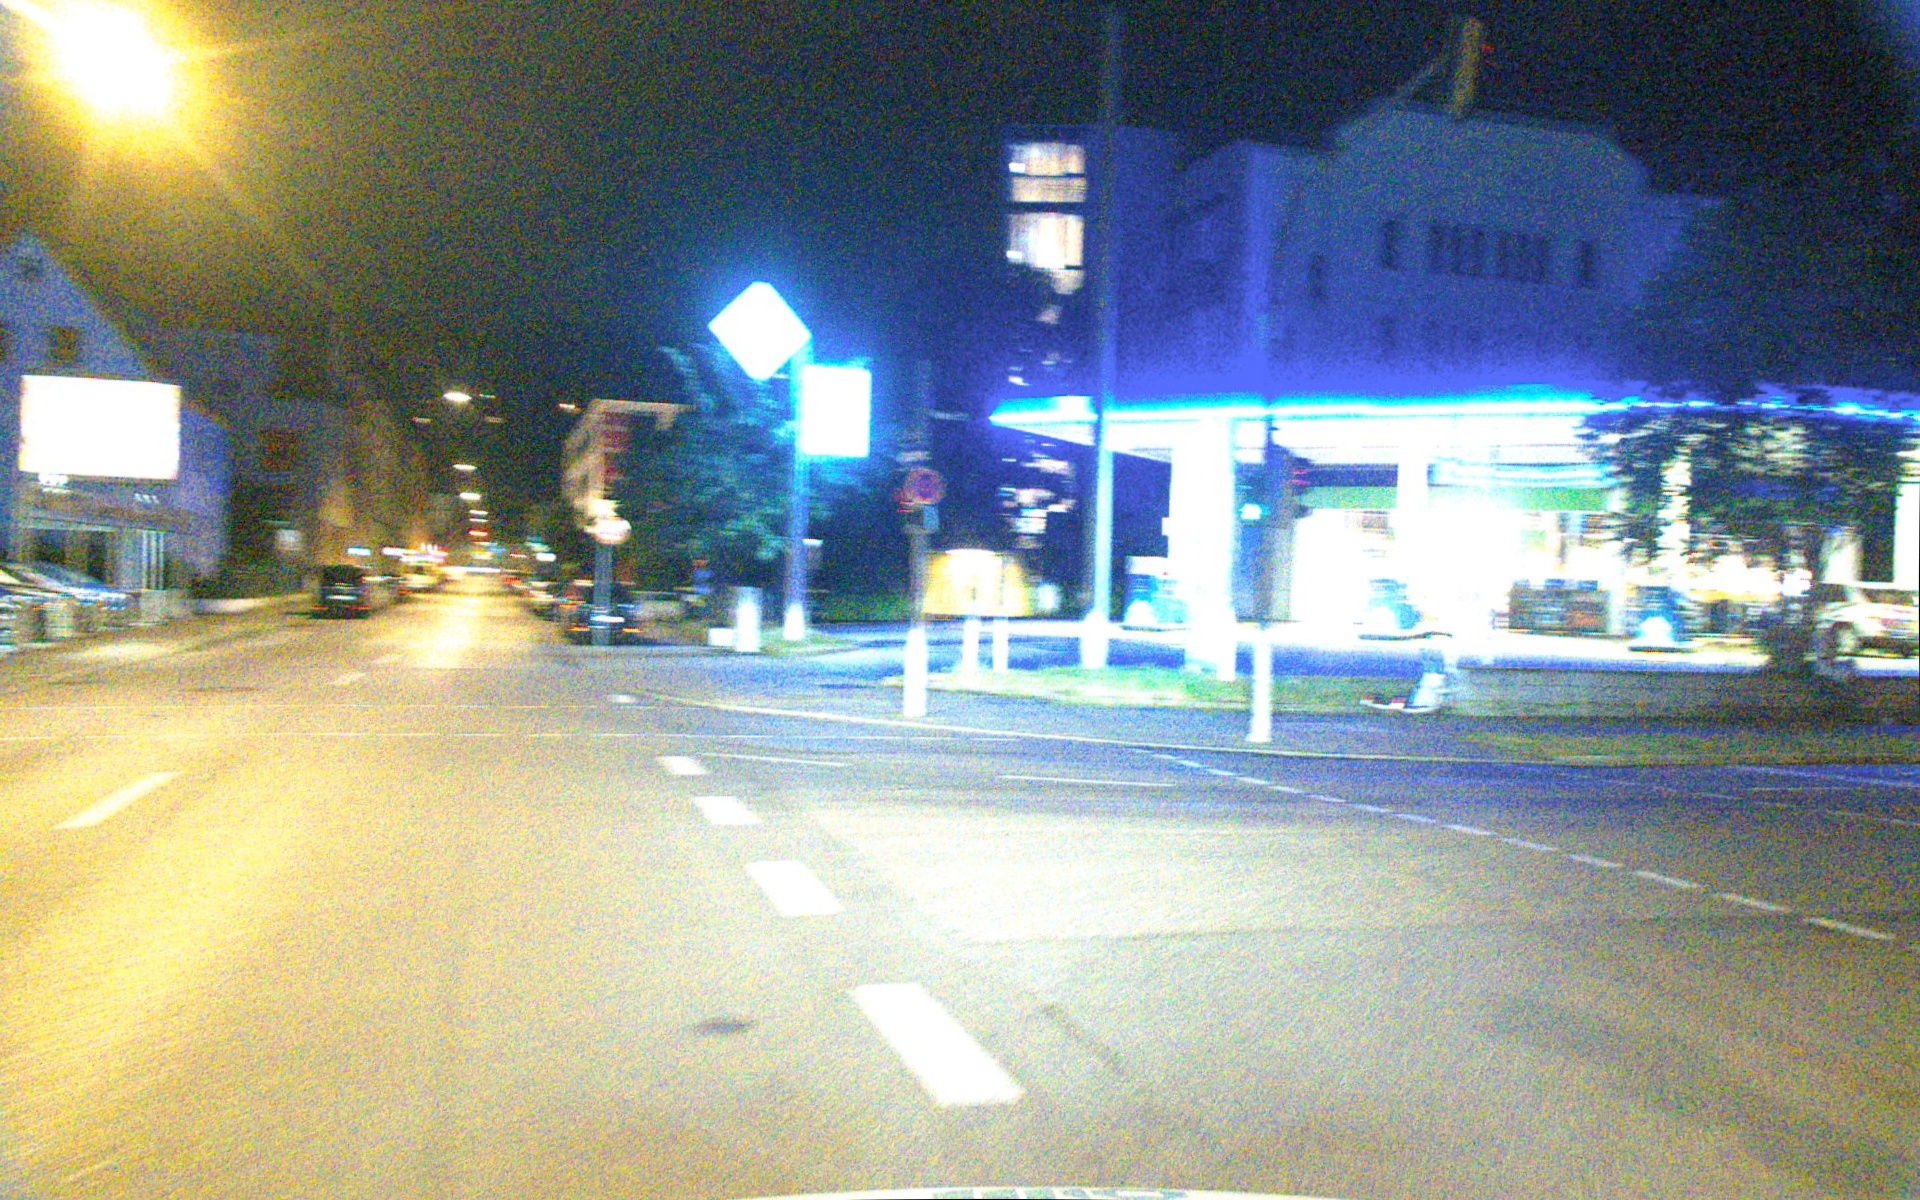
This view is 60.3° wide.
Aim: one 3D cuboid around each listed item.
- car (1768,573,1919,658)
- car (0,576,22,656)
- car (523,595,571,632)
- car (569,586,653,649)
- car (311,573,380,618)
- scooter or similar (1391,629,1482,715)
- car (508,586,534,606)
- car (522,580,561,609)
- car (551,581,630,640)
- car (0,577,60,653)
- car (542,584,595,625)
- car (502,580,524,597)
[{"bbox_3d":[22.231,0.340,40.660,1.959,1.799,4.238,2,3,-13],"label":"car"},{"bbox_3d":[-19.830,0.241,30.126,4.368,1.475,1.991,2,-1,-17],"label":"car"},{"bbox_3d":[-18.330,0.598,73.429,1.960,1.546,3.985,2,-1,-14],"label":"car"},{"bbox_3d":[-9.312,0.429,43.956,1.960,1.543,3.985,2,0,-14],"label":"car"},{"bbox_3d":[-22.016,-0.138,59.391,1.961,1.528,3.982,2,-1,-16],"label":"car"},{"bbox_3d":[6.714,0.990,23.270,0.702,1.111,1.674,1,1,36],"label":"scooter or similar"},{"bbox_3d":[-36.042,-0.321,135.844,1.960,1.546,3.985,2,-1,-14],"label":"car"},{"bbox_3d":[-22.905,-0.279,90.515,1.960,1.546,3.985,2,-1,-14],"label":"car"},{"bbox_3d":[-11.047,0.274,49.252,1.962,1.623,3.981,2,0,-17],"label":"car"},{"bbox_3d":[-20.597,0.250,32.889,4.368,1.475,1.991,2,-1,-17],"label":"car"},{"bbox_3d":[-15.807,0.179,66.665,1.960,1.546,3.985,2,-1,-14],"label":"car"},{"bbox_3d":[-42.619,-1.082,157.857,1.960,1.546,3.985,2,-1,-14],"label":"car"}]
